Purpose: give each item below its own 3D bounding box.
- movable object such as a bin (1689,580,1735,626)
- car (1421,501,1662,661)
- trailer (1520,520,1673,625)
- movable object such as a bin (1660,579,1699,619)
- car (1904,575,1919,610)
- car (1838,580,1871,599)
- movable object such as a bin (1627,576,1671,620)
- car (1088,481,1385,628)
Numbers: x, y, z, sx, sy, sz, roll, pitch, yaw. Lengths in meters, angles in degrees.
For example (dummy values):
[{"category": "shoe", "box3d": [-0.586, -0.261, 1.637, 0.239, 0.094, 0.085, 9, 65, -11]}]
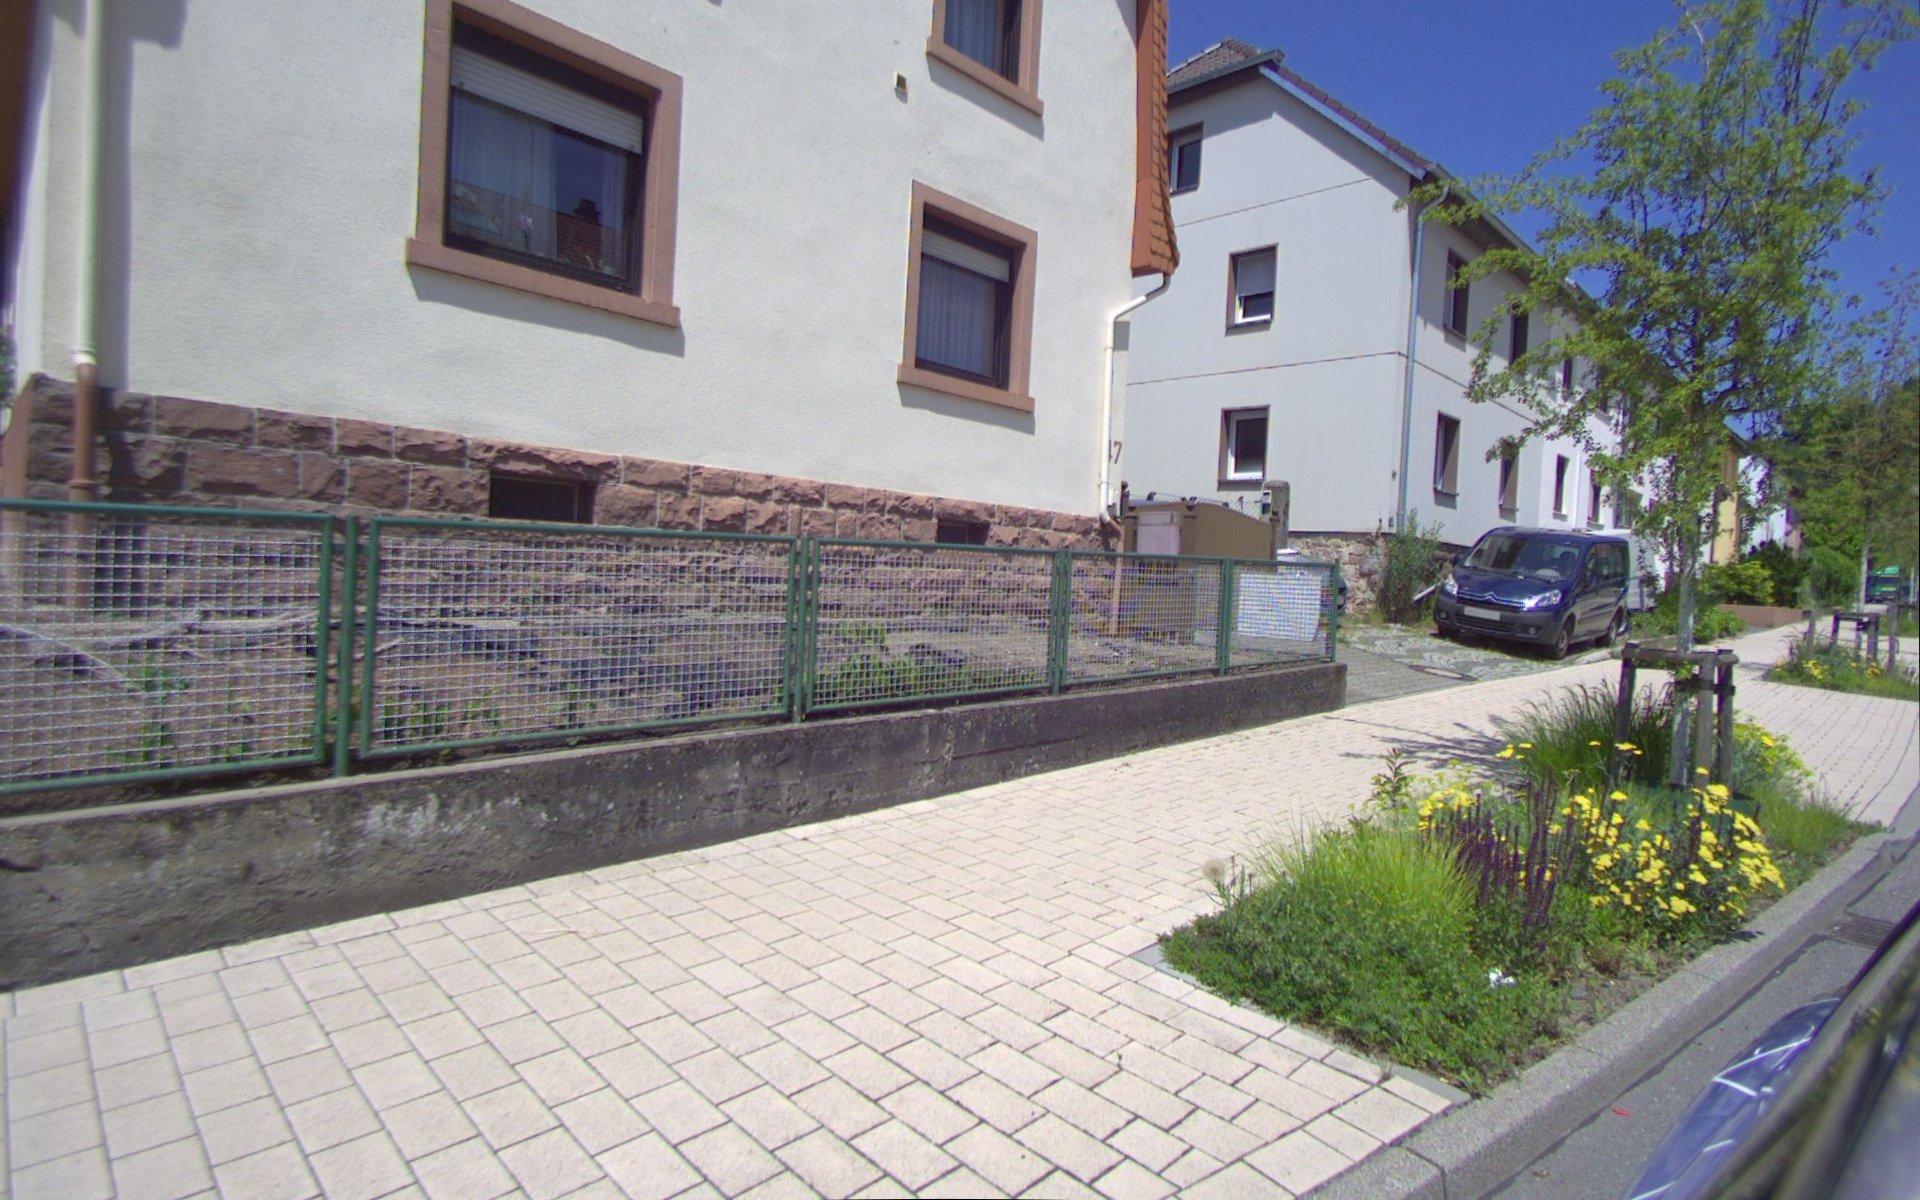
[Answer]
[{"category": "movable object such as a bin", "box3d": [19.721, 0.072, 26.543, 0.797, 1.128, 0.686, -1, 6, -39]}, {"category": "car", "box3d": [9.609, -0.349, 16.553, 4.695, 1.990, 1.859, -1, 13, -44]}, {"category": "trailer", "box3d": [12.849, -0.553, 20.497, 2.229, 2.039, 1.325, 0, 1, -2]}, {"category": "movable object such as a bin", "box3d": [19.159, -0.024, 26.950, 0.788, 0.997, 0.560, 0, 6, -38]}, {"category": "car", "box3d": [52.976, -0.406, 55.285, 1.855, 1.864, 4.600, 5, 4, 42]}, {"category": "car", "box3d": [73.164, -0.859, 82.829, 1.667, 1.393, 3.947, 4, 3, 37]}, {"category": "movable object such as a bin", "box3d": [18.700, -0.066, 27.464, 0.847, 1.119, 0.687, 0, 5, -38]}, {"category": "car", "box3d": [4.211, -0.793, 15.904, 1.859, 1.785, 3.997, -1, 8, -43]}]
